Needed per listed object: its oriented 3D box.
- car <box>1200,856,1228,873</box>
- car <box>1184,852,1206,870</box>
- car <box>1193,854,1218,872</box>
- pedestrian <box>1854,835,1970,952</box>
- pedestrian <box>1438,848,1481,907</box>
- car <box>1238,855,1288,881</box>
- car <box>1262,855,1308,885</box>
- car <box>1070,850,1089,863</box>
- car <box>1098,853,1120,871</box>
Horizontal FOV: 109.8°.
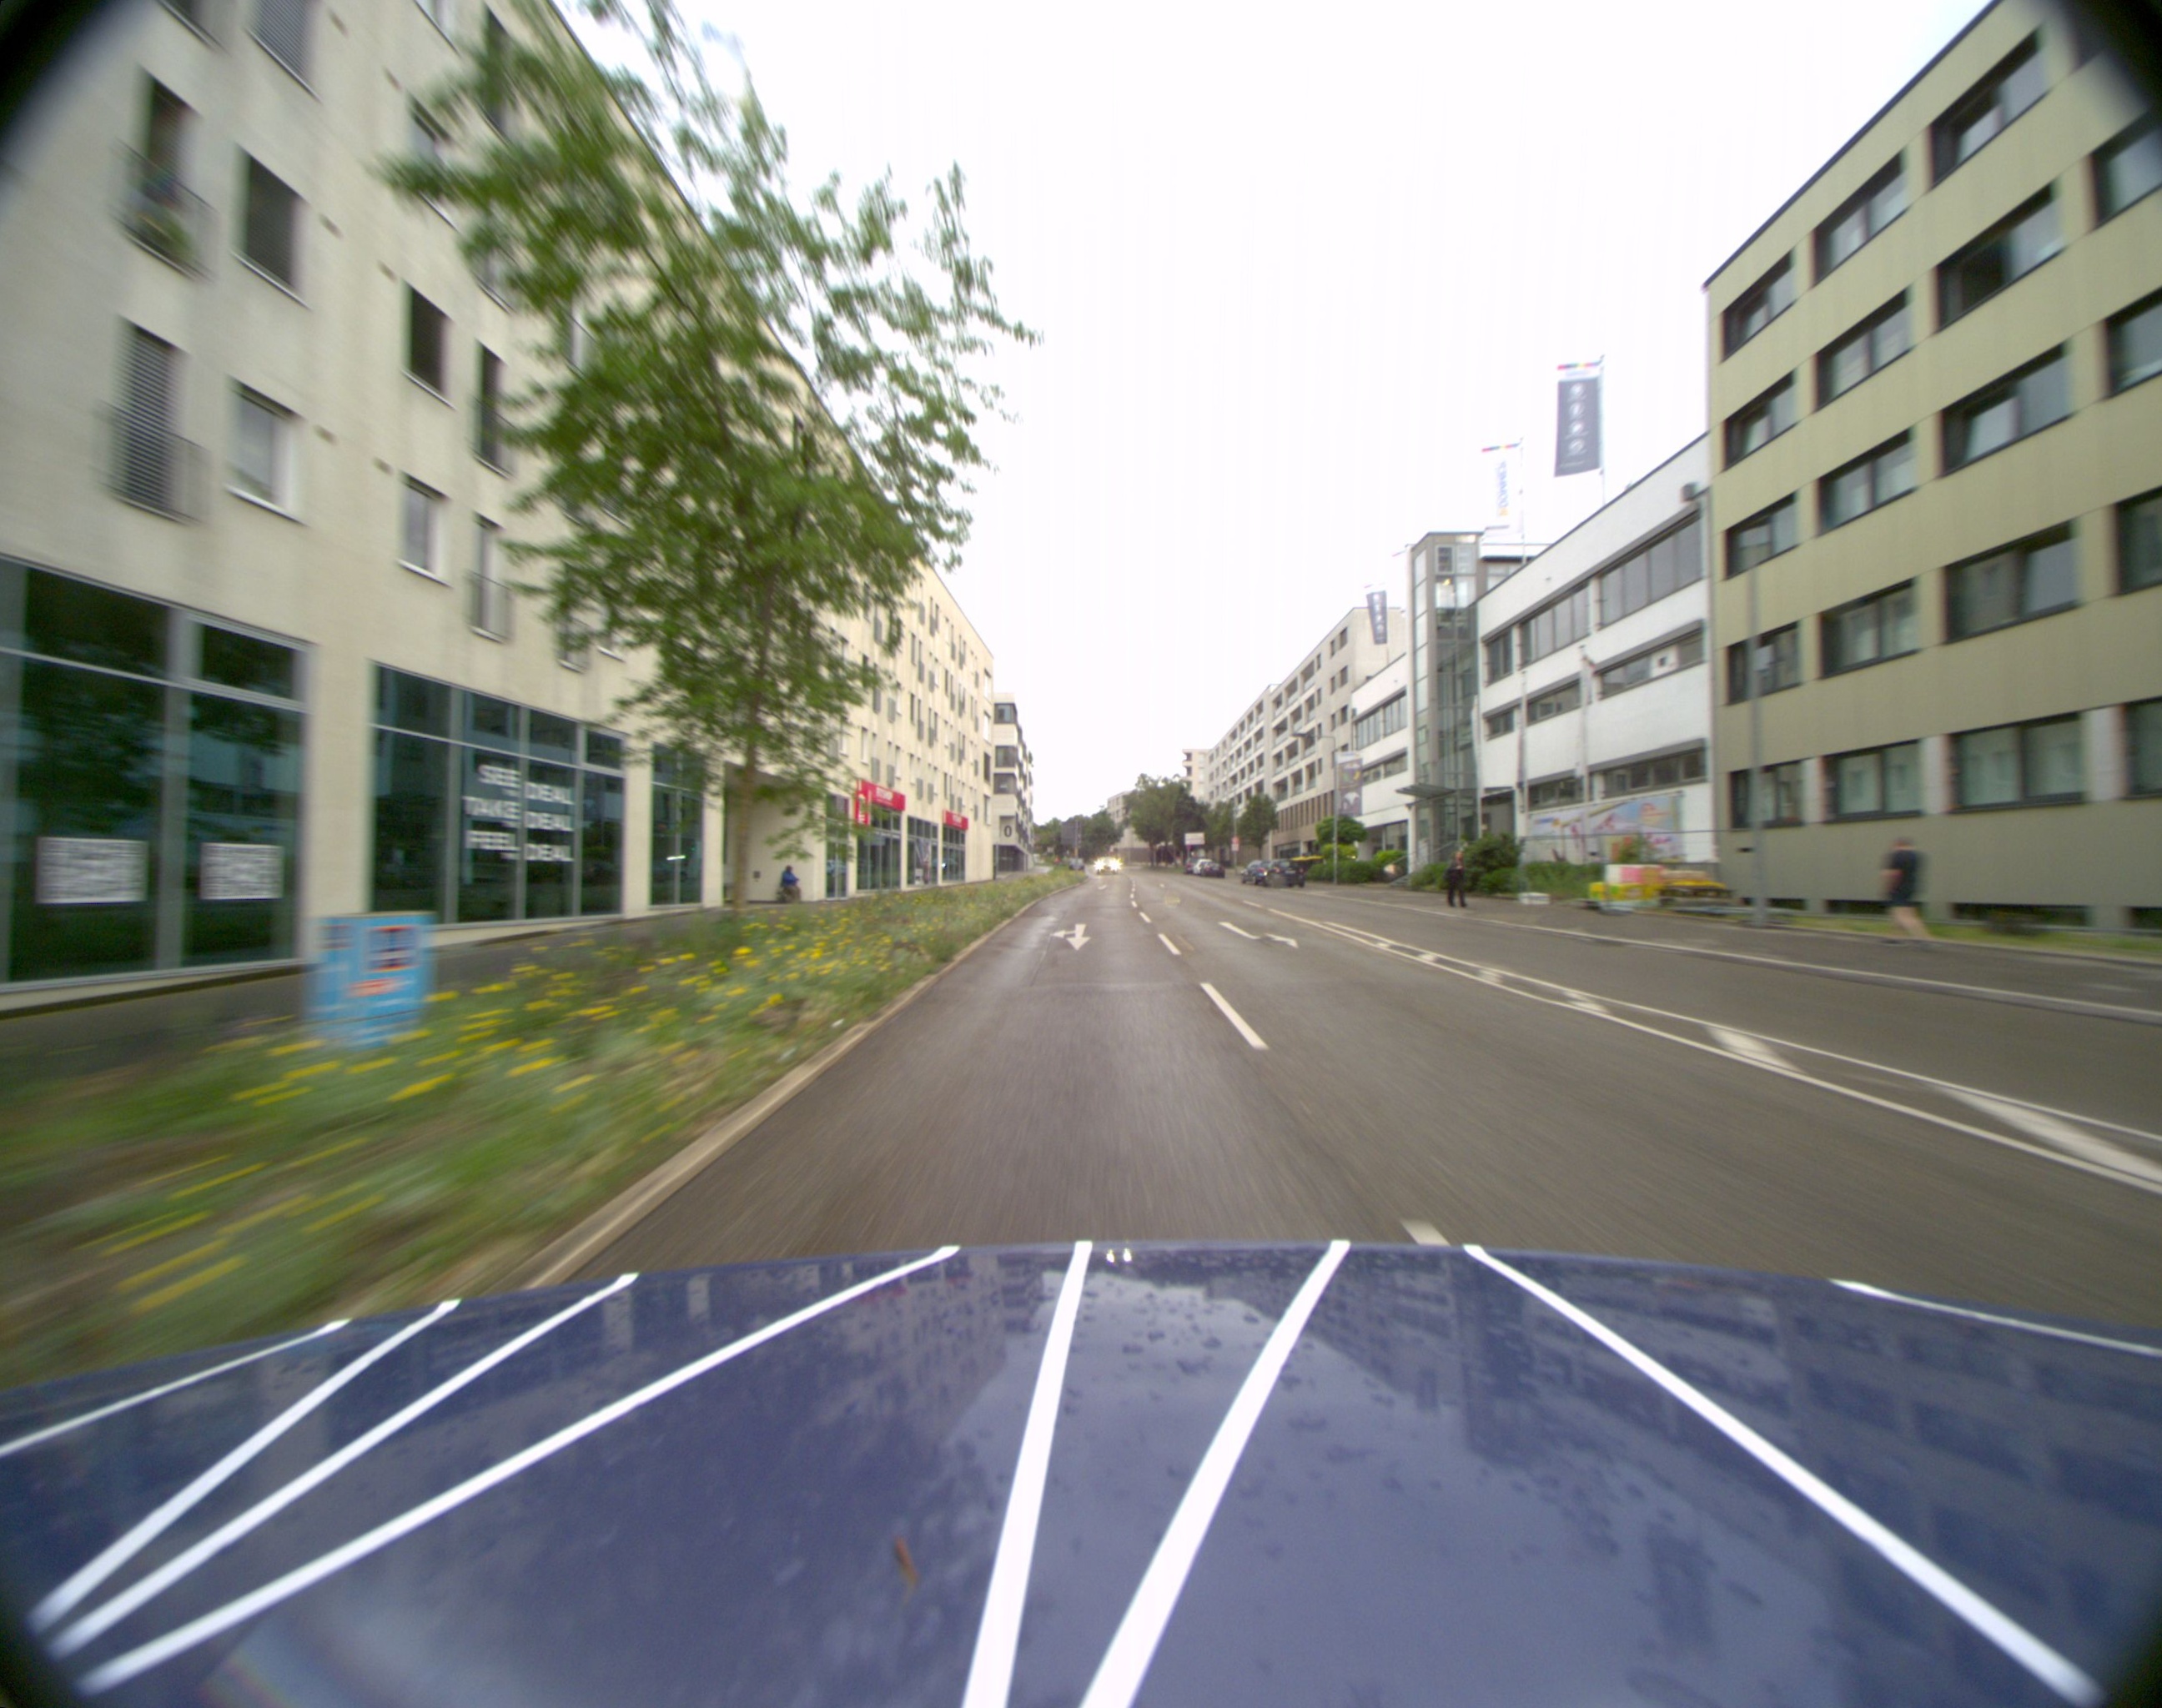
[{"bbox_3d":[11.255,0.877,64.721,1.662,1.383,3.739,2,1,-1],"label":"car"},{"bbox_3d":[11.127,0.692,74.450,1.630,1.608,3.972,2,0,1],"label":"car"},{"bbox_3d":[11.350,0.818,69.446,1.597,1.459,3.422,3,1,0],"label":"car"},{"bbox_3d":[12.813,0.588,11.745,0.757,1.722,0.942,-2,1,4],"label":"pedestrian"},{"bbox_3d":[11.130,0.682,22.381,0.769,1.667,0.968,-2,1,3],"label":"pedestrian"},{"bbox_3d":[10.732,0.793,45.156,1.660,1.395,4.268,2,0,-4],"label":"car"},{"bbox_3d":[10.979,0.847,41.084,1.519,1.501,2.981,2,0,-4],"label":"car"},{"bbox_3d":[-0.171,0.277,90.529,1.998,1.477,4.000,-2,1,4],"label":"car"},{"bbox_3d":[2.761,0.782,74.882,1.998,1.565,4.000,-2,1,4],"label":"car"}]
